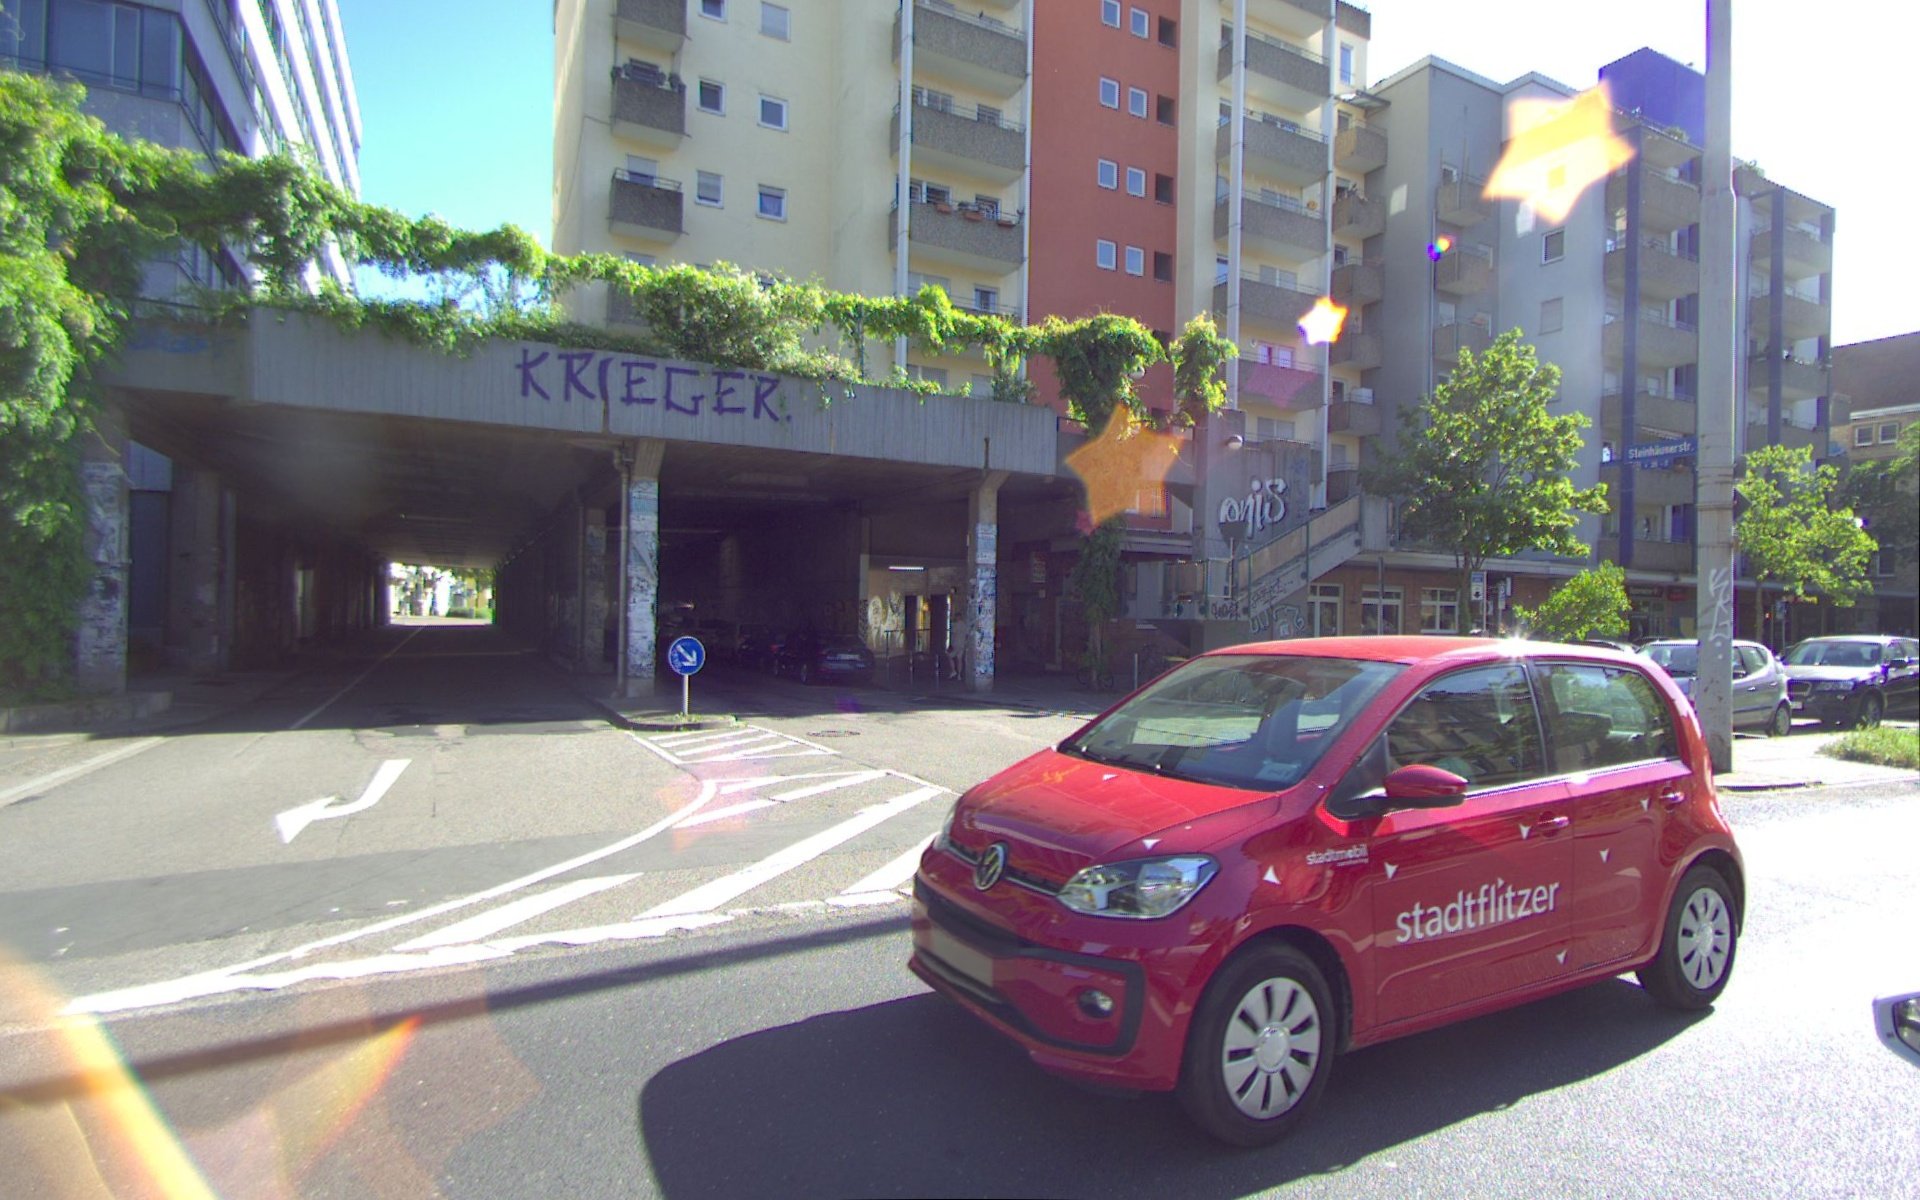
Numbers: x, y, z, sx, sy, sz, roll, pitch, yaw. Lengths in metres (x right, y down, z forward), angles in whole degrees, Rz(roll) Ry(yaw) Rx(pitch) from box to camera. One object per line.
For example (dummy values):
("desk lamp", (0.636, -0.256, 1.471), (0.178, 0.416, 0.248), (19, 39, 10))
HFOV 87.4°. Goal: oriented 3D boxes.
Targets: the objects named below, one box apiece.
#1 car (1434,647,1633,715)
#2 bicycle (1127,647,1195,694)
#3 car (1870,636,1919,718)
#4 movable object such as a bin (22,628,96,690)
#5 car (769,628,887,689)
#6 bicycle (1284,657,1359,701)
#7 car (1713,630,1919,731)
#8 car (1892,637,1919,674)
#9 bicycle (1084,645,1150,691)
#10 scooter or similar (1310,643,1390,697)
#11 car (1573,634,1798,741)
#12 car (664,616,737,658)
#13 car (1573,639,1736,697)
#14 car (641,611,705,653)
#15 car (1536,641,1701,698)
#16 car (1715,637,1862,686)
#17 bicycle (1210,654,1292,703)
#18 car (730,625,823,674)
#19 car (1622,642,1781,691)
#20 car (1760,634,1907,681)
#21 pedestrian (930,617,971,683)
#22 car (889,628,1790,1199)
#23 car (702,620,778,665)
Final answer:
("car", (13.486, 1.852, 23.596), (4.469, 1.416, 1.885), (2, -2, -26))
("bicycle", (4.861, 1.703, 24.389), (1.593, 1.014, 0.413), (2, 2, 40))
("car", (21.717, 1.636, 21.547), (4.475, 1.683, 1.881), (2, -3, -29))
("movable object such as a bin", (-13.985, 0.910, 15.609), (0.710, 0.917, 0.636), (2, -1, -29))
("car", (-3.725, 1.550, 27.580), (1.833, 1.451, 4.578), (3, -2, -25))
("bicycle", (8.643, 1.883, 24.004), (1.774, 1.014, 0.413), (1, 2, -19))
("car", (16.068, 1.407, 18.438), (4.447, 1.649, 1.861), (2, -2, -27))
("car", (44.329, 2.528, 44.650), (1.668, 1.651, 3.967), (2, -1, -31))
("bicycle", (3.829, 1.643, 24.596), (0.479, 1.014, 1.784), (0, 0, -35))
("scooter or similar", (10.121, 1.784, 26.154), (0.624, 1.294, 1.956), (1, -1, -32))
("car", (11.711, 1.344, 16.190), (3.491, 1.538, 1.711), (2, -2, -31))
("car", (-10.385, 1.446, 40.005), (1.715, 1.566, 4.122), (2, -1, -30))
("car", (22.396, 2.150, 32.538), (1.821, 1.629, 3.967), (2, -1, -31))
("car", (-12.799, 1.374, 44.627), (1.836, 1.688, 4.339), (2, -1, -28))
("car", (20.470, 2.113, 31.378), (1.750, 1.571, 3.967), (2, -1, -31))
("car", (31.141, 2.283, 37.868), (1.668, 1.651, 3.967), (2, -1, -31))
("bicycle", (6.655, 1.794, 22.957), (1.770, 1.045, 0.414), (1, 2, -12))
("car", (-5.908, 1.526, 31.981), (1.745, 1.429, 4.033), (2, -1, -28))
("car", (24.701, 2.173, 33.616), (1.668, 1.443, 3.967), (2, -1, -31))
("car", (33.607, 2.174, 38.741), (1.668, 1.651, 3.967), (2, -1, -31))
("pedestrian", (-0.271, 1.348, 27.306), (0.787, 1.722, 0.752), (2, 1, -29))
("car", (1.622, 0.872, 4.156), (3.464, 1.447, 1.644), (2, -1, -29))
("car", (-7.994, 1.511, 36.293), (1.591, 1.507, 3.606), (2, -1, -32))
